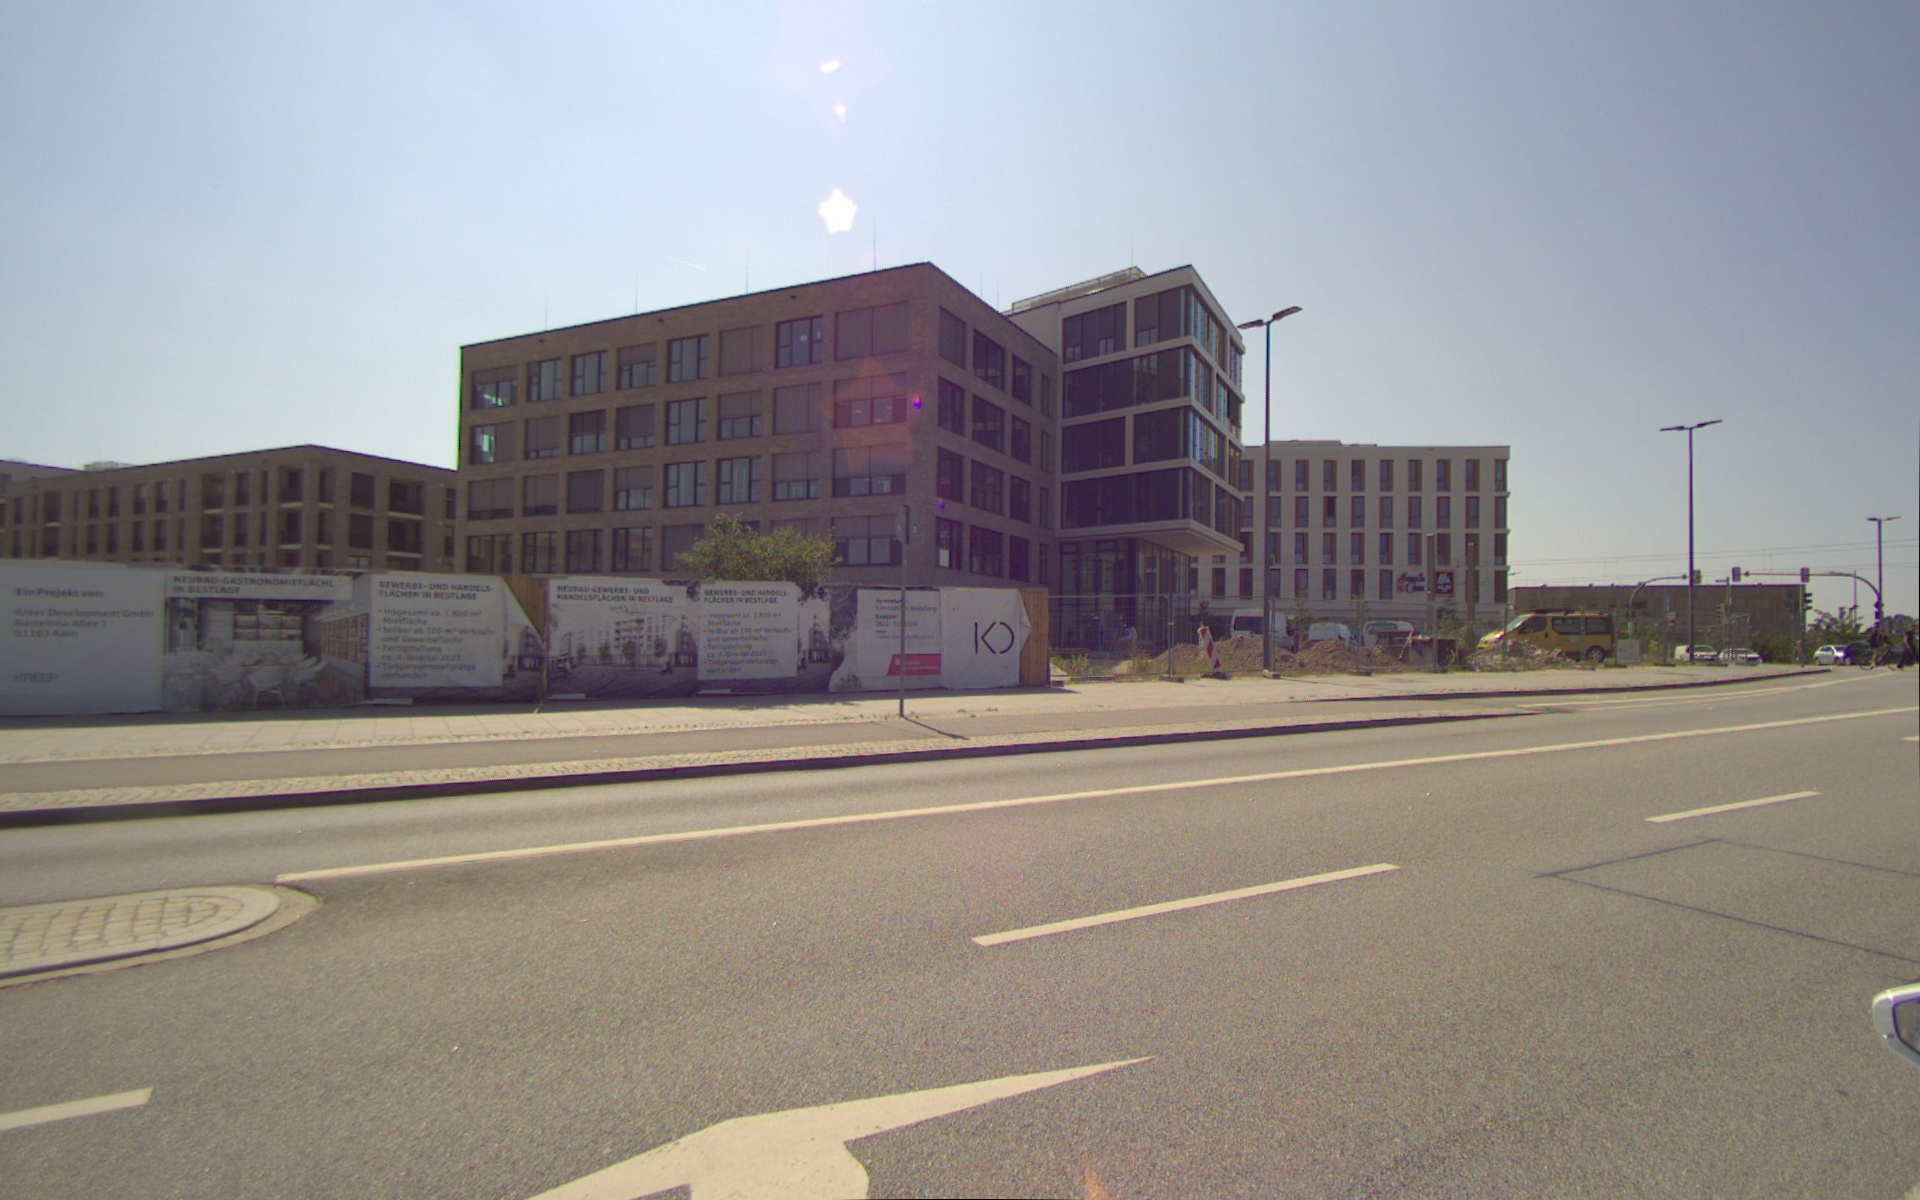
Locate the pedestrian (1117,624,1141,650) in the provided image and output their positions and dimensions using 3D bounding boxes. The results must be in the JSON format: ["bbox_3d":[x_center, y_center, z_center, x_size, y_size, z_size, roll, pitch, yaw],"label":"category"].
[{"bbox_3d":[9.399,2.044,55.839,1.098,1.391,0.742,2,0,-16],"label":"pedestrian"}]

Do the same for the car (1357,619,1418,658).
[{"bbox_3d":[20.691,1.816,48.503,1.967,1.730,4.550,2,0,32],"label":"car"}]

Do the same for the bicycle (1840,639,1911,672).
[{"bbox_3d":[37.002,2.229,40.620,0.550,1.193,2.065,2,0,-37],"label":"bicycle"}]

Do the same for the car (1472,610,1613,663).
[{"bbox_3d":[23.087,1.413,39.988,4.395,1.915,2.001,2,0,9],"label":"car"}]

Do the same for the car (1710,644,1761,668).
[{"bbox_3d":[65.972,4.749,85.489,1.893,1.839,4.049,1,-1,13],"label":"car"}]

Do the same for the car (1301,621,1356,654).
[{"bbox_3d":[18.375,1.827,49.966,1.774,1.528,3.991,2,0,32],"label":"car"}]

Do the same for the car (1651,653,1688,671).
[{"bbox_3d":[64.355,5.582,91.188,1.633,1.408,3.788,2,0,18],"label":"car"}]

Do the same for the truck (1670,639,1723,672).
[{"bbox_3d":[62.811,4.674,85.743,1.960,2.574,4.711,1,-1,15],"label":"truck"}]

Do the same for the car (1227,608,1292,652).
[{"bbox_3d":[15.265,1.522,51.094,2.175,2.083,4.164,2,0,30],"label":"car"}]

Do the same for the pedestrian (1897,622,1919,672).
[{"bbox_3d":[36.669,1.803,38.629,0.745,1.888,0.736,2,0,-31],"label":"pedestrian"}]

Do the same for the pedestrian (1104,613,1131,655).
[{"bbox_3d":[7.814,1.679,49.840,0.949,2.040,0.940,2,0,-16],"label":"pedestrian"}]

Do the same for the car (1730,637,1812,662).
[{"bbox_3d":[53.933,3.252,66.899,1.651,1.571,3.969,2,-2,-21],"label":"car"}]

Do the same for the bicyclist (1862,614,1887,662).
[{"bbox_3d":[36.997,1.545,40.647,0.630,1.912,0.589,2,0,-36],"label":"bicyclist"}]

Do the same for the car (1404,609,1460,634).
[{"bbox_3d":[41.258,1.906,87.880,1.986,2.040,3.950,2,0,-42],"label":"car"}]
